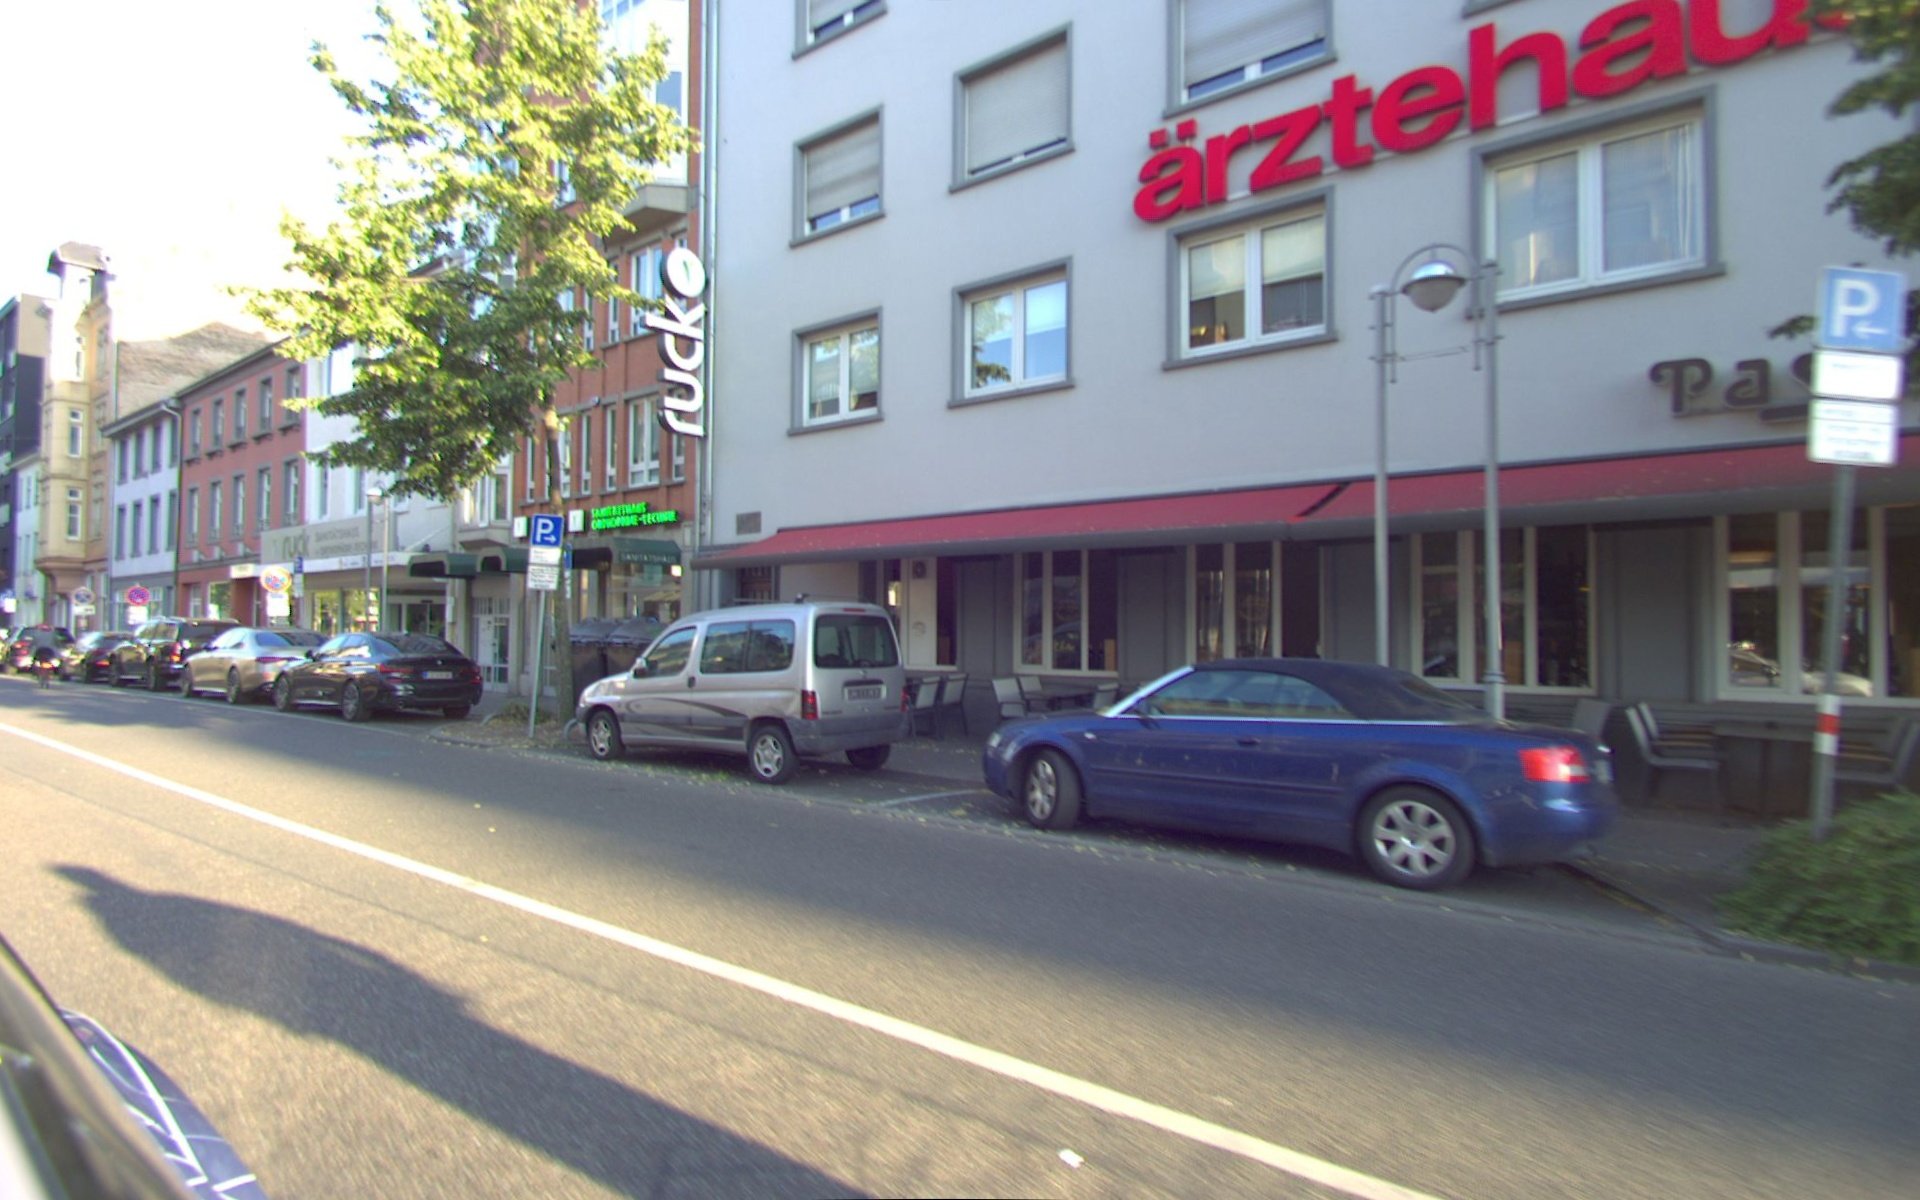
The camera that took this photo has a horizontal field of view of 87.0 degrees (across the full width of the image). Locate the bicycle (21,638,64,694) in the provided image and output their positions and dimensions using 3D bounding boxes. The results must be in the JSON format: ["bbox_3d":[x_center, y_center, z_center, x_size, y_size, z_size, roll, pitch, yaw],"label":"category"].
[{"bbox_3d":[-21.987,1.562,24.236,1.691,1.246,0.415,0,0,36],"label":"bicycle"}]

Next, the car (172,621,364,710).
[{"bbox_3d":[-14.184,1.280,20.622,4.939,1.612,1.872,-2,-3,39],"label":"car"}]

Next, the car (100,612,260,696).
[{"bbox_3d":[-19.393,1.315,25.076,4.940,1.898,1.949,-2,-3,38],"label":"car"}]

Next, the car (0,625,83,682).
[{"bbox_3d":[-31.160,1.734,33.921,4.134,1.741,1.854,-1,-2,38],"label":"car"}]

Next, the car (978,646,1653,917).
[{"bbox_3d":[2.333,1.039,7.298,4.305,1.363,1.633,-1,-3,38],"label":"car"}]

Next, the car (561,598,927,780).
[{"bbox_3d":[-2.468,0.828,11.166,3.990,1.676,1.700,0,0,35],"label":"car"}]

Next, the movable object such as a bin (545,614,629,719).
[{"bbox_3d":[-5.732,0.996,15.547,1.099,1.547,0.739,-2,-1,38],"label":"movable object such as a bin"}]

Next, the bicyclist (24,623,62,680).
[{"bbox_3d":[-21.913,1.217,24.192,0.659,1.312,0.562,-1,0,37],"label":"bicyclist"}]

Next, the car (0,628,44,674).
[{"bbox_3d":[-35.159,1.855,37.174,3.512,1.602,1.665,-1,-1,39],"label":"car"}]

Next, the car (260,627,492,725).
[{"bbox_3d":[-9.877,1.178,17.001,4.410,1.403,1.783,0,-1,37],"label":"car"}]

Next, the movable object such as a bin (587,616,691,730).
[{"bbox_3d":[-4.675,1.019,14.717,1.482,1.555,0.744,0,0,38],"label":"movable object such as a bin"}]

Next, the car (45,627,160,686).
[{"bbox_3d":[-24.320,1.561,28.678,3.837,1.536,1.715,-1,-3,38],"label":"car"}]
